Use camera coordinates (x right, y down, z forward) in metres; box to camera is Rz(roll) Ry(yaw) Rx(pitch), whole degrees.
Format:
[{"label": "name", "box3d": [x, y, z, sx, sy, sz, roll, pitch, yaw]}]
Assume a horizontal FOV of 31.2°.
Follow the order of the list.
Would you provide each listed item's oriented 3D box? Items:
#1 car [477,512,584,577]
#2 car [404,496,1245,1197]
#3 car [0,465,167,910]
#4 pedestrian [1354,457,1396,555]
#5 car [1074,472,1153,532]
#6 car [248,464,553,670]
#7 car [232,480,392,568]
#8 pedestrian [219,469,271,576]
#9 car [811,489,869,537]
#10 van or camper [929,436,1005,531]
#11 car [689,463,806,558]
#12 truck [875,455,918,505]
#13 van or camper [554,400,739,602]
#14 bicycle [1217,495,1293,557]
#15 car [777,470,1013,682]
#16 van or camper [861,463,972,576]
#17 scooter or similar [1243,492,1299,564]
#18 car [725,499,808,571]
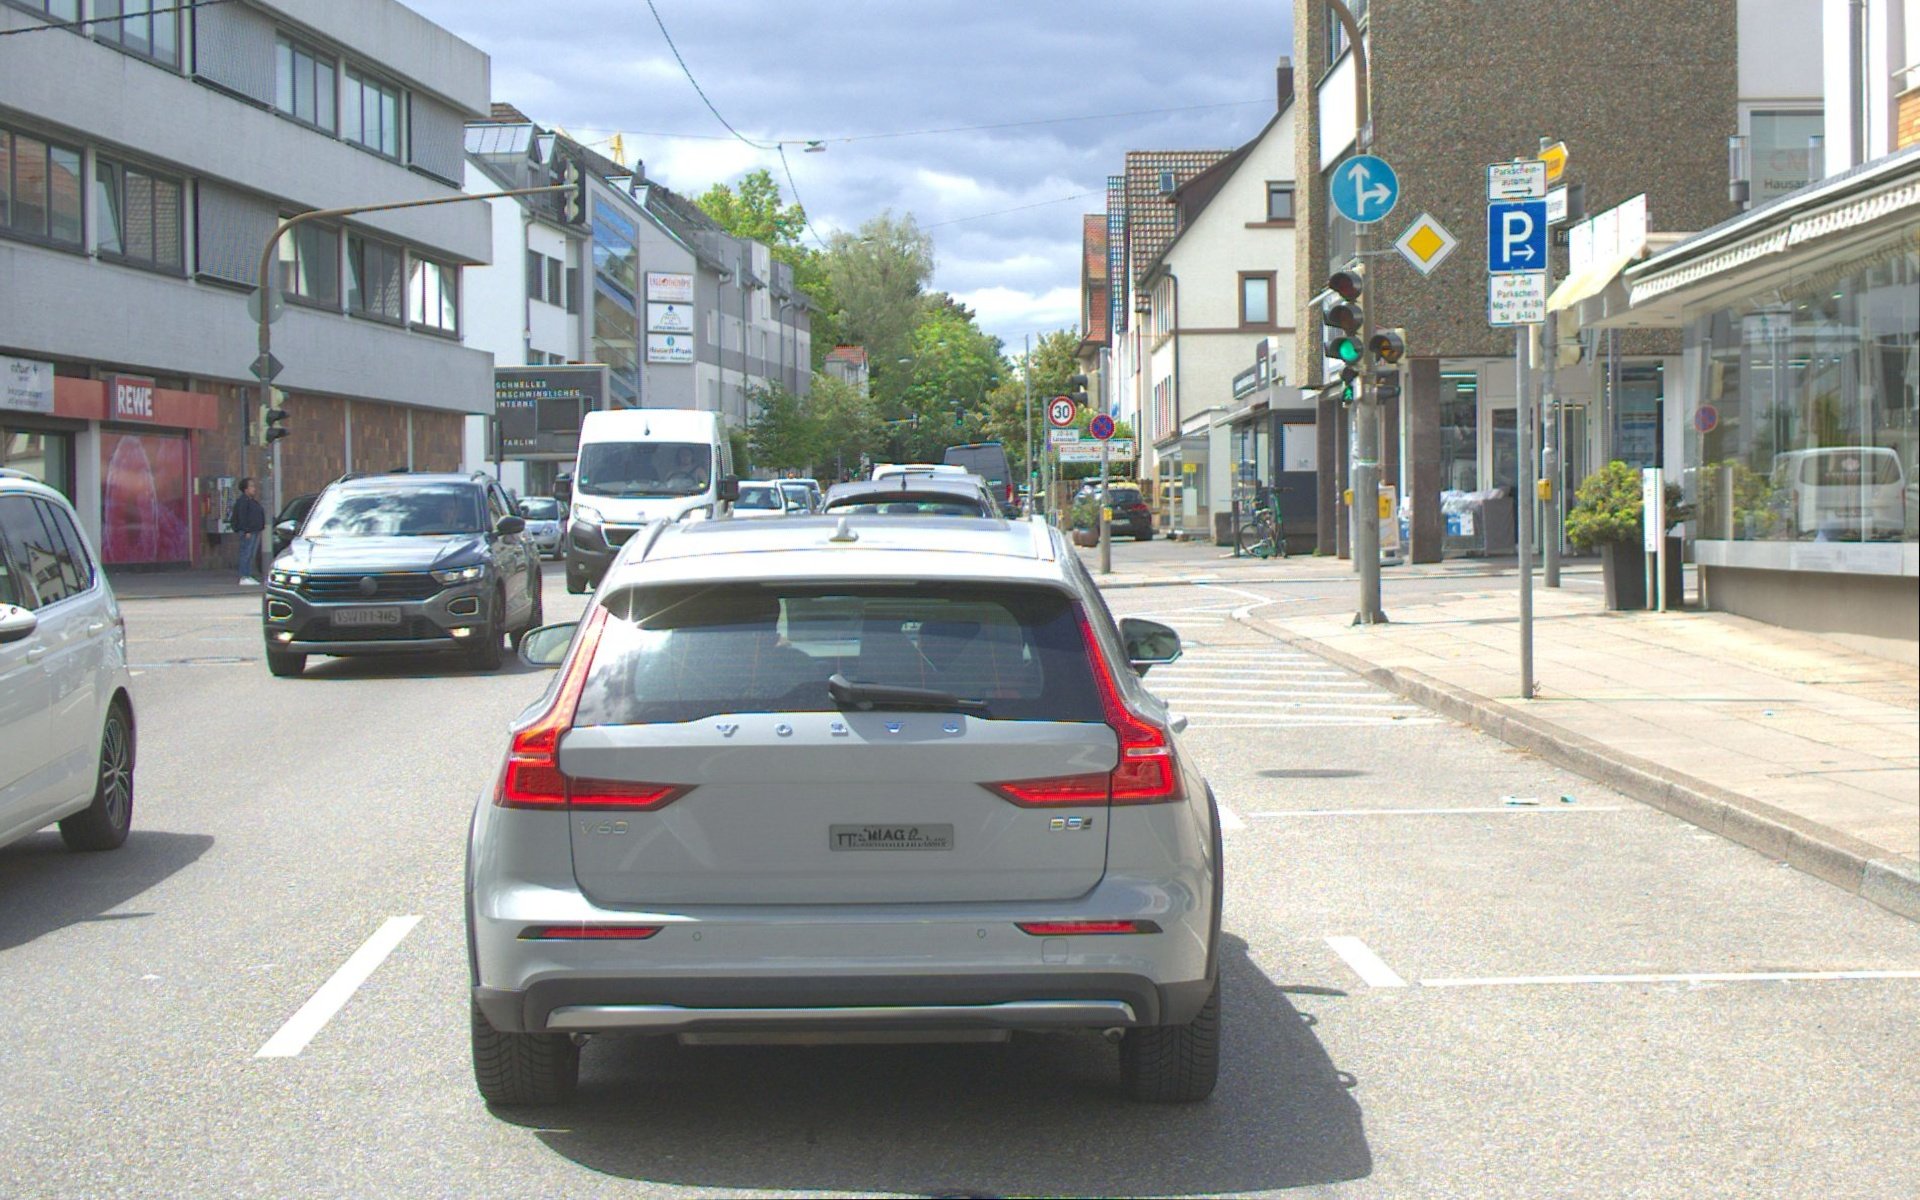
[{"label": "car", "box3d": [-9.741, -1.266, 78.210, 1.755, 1.421, 3.862, -1, 1, 3]}, {"label": "car", "box3d": [-0.314, 0.483, 9.557, 1.836, 1.481, 4.001, 0, 2, -1]}, {"label": "car", "box3d": [-4.411, 0.333, 13.057, 1.775, 1.607, 4.120, -2, 3, 0]}, {"label": "pedestrian", "box3d": [6.317, -1.433, 52.321, 0.504, 1.454, 0.500, -3, 1, 13]}, {"label": "car", "box3d": [3.967, -2.521, 89.371, 1.710, 1.459, 4.000, 0, 0, -2]}, {"label": "car", "box3d": [-4.413, -0.276, 27.621, 1.791, 1.506, 3.845, -1, 1, 0]}, {"label": "car", "box3d": [-11.295, -1.338, 60.192, 1.785, 1.459, 4.086, 1, 2, 4]}, {"label": "pedestrian", "box3d": [-11.049, -1.197, 53.149, 0.619, 1.635, 0.660, -1, 2, 1]}, {"label": "car", "box3d": [-3.895, -2.851, 112.054, 1.668, 1.548, 4.215, 0, 2, 1]}, {"label": "van or camper", "box3d": [0.232, -3.421, 101.034, 2.123, 2.677, 4.781, -1, 2, 1]}, {"label": "car", "box3d": [-3.897, -1.683, 63.641, 1.780, 1.634, 4.221, -2, 2, 1]}, {"label": "truck", "box3d": [-3.784, -7.222, 206.522, 2.276, 2.876, 7.079, -1, 2, 1]}, {"label": "van or camper", "box3d": [-4.222, -1.402, 47.073, 2.148, 2.547, 5.439, -1, 3, -2]}, {"label": "bicycle", "box3d": [5.507, -1.394, 64.404, 0.554, 1.140, 2.301, -2, 2, -18]}, {"label": "car", "box3d": [-0.468, -0.212, 25.890, 1.650, 1.477, 3.608, 0, 1, 0]}, {"label": "van or camper", "box3d": [-0.734, -1.349, 58.981, 1.819, 1.828, 4.000, 0, 0, 0]}, {"label": "scooter or similar", "box3d": [5.541, -1.275, 61.306, 0.340, 1.249, 1.246, -4, 1, -26]}, {"label": "car", "box3d": [-4.426, -1.478, 79.012, 1.789, 1.584, 4.101, -1, 1, -2]}]
